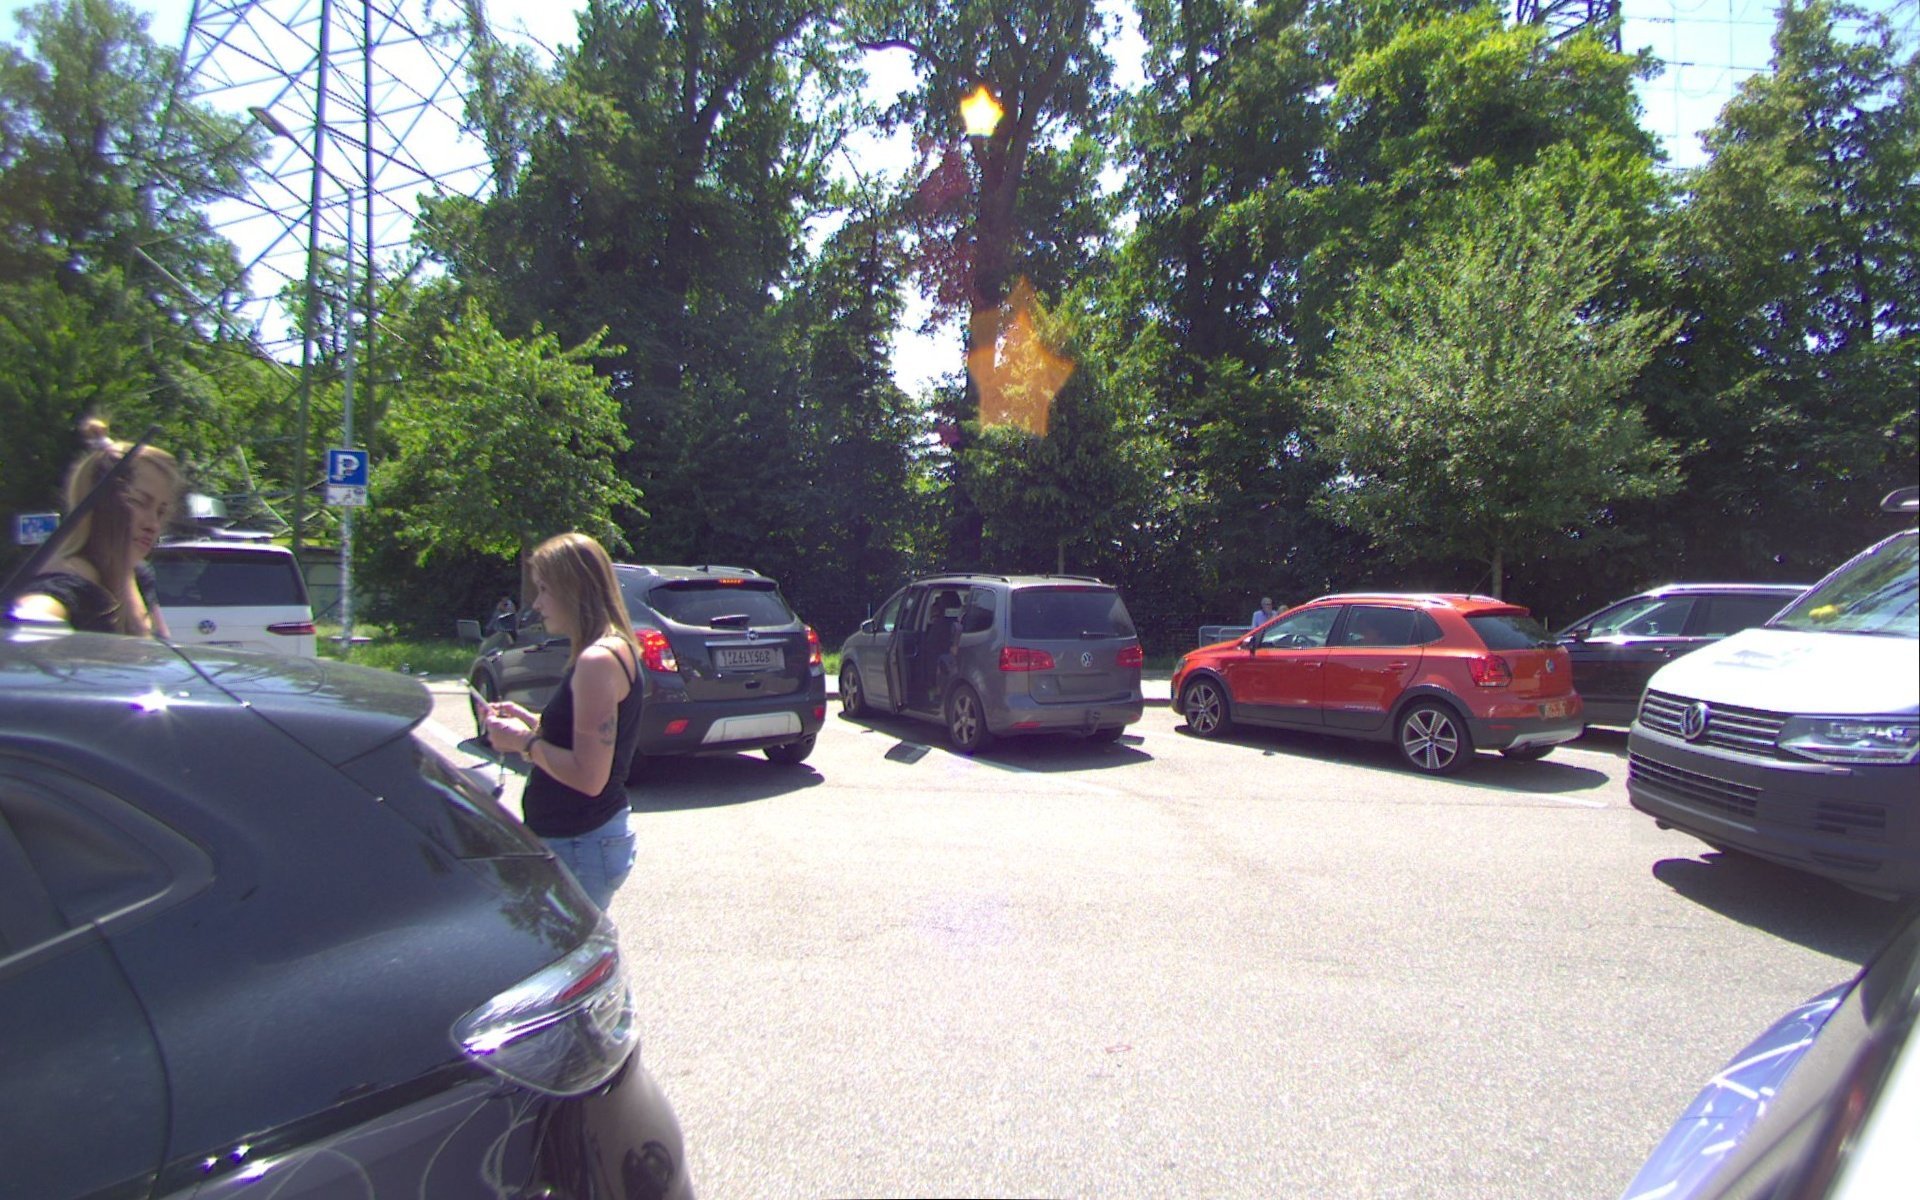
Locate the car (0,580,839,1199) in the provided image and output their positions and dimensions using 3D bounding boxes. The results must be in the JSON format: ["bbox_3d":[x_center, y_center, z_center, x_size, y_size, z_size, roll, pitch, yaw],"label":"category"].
[{"bbox_3d":[-2.054,0.729,0.773,1.776,1.476,3.628,0,0,43],"label":"car"}]

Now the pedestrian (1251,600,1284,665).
[{"bbox_3d":[5.792,0.600,19.059,0.433,1.207,0.414,0,0,-30],"label":"pedestrian"}]

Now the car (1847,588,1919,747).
[{"bbox_3d":[10.449,0.646,8.846,1.813,1.473,3.776,1,0,-36],"label":"car"}]

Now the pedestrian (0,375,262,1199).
[{"bbox_3d":[-1.987,0.507,2.408,0.478,1.883,0.913,1,-1,-33],"label":"pedestrian"}]

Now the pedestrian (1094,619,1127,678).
[{"bbox_3d":[2.340,0.742,15.760,0.494,0.890,0.512,0,0,10],"label":"pedestrian"}]

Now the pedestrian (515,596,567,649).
[{"bbox_3d":[-9.793,0.516,23.649,0.810,1.201,0.836,0,0,40],"label":"pedestrian"}]

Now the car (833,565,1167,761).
[{"bbox_3d":[0.206,0.514,10.601,1.670,1.637,3.912,0,0,-30],"label":"car"}]

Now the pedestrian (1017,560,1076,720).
[{"bbox_3d":[0.970,0.432,11.338,0.500,1.744,0.438,0,0,-24],"label":"pedestrian"}]

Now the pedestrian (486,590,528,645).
[{"bbox_3d":[-10.972,0.409,24.504,0.539,1.318,0.758,0,0,37],"label":"pedestrian"}]

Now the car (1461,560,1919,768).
[{"bbox_3d":[7.169,0.500,9.756,1.679,1.637,3.863,1,0,-40],"label":"car"}]

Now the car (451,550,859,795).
[{"bbox_3d":[-2.870,0.480,8.914,1.807,1.637,4.158,1,0,-43],"label":"car"}]

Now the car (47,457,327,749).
[{"bbox_3d":[-8.402,0.015,10.784,1.897,2.400,4.963,1,-1,-43],"label":"car"}]

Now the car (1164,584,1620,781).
[{"bbox_3d":[3.884,0.623,9.669,1.588,1.485,3.751,1,0,-34],"label":"car"}]

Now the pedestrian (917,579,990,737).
[{"bbox_3d":[-0.072,0.551,10.053,0.511,1.516,0.560,0,0,-30],"label":"pedestrian"}]

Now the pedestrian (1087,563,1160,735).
[{"bbox_3d":[1.705,0.495,10.578,0.576,1.744,0.483,0,0,-20],"label":"pedestrian"}]

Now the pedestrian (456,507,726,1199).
[{"bbox_3d":[-0.957,0.598,2.623,0.477,1.614,0.502,1,-1,-44],"label":"pedestrian"}]

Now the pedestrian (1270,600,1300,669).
[{"bbox_3d":[5.785,0.609,18.039,0.348,1.207,0.367,0,0,-20],"label":"pedestrian"}]

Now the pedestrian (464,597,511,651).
[{"bbox_3d":[-10.602,0.527,22.705,0.785,1.178,0.696,0,0,39],"label":"pedestrian"}]

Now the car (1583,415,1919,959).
[{"bbox_3d":[6.203,0.360,4.700,5.336,2.131,1.842,1,1,4],"label":"car"}]
